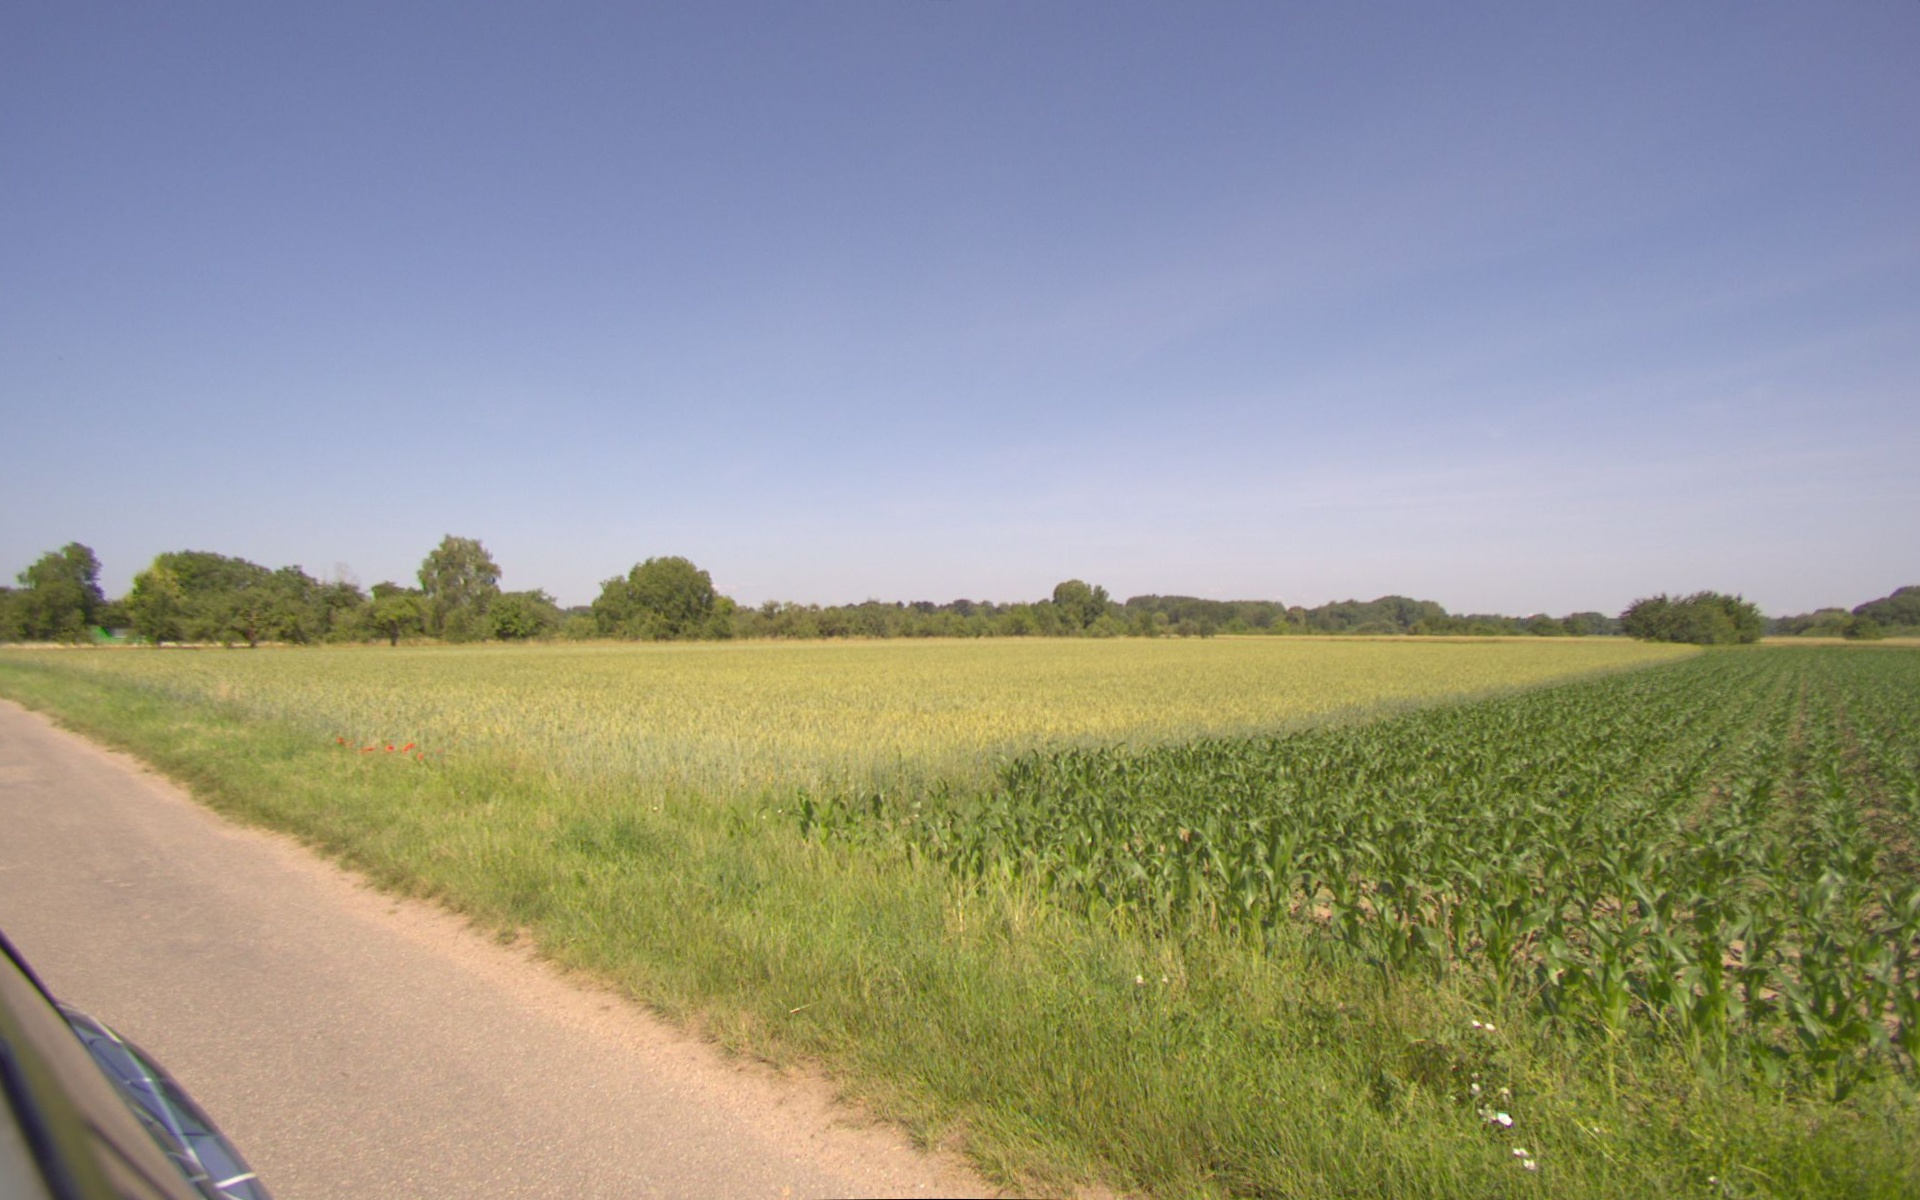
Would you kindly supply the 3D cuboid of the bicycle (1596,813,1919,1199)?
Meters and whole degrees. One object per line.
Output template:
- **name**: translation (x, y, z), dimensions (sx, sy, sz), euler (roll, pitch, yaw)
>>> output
- **bicycle**: translation (1.558, 0.860, 0.605), dimensions (1.907, 1.136, 0.743), euler (-1, -4, 41)
